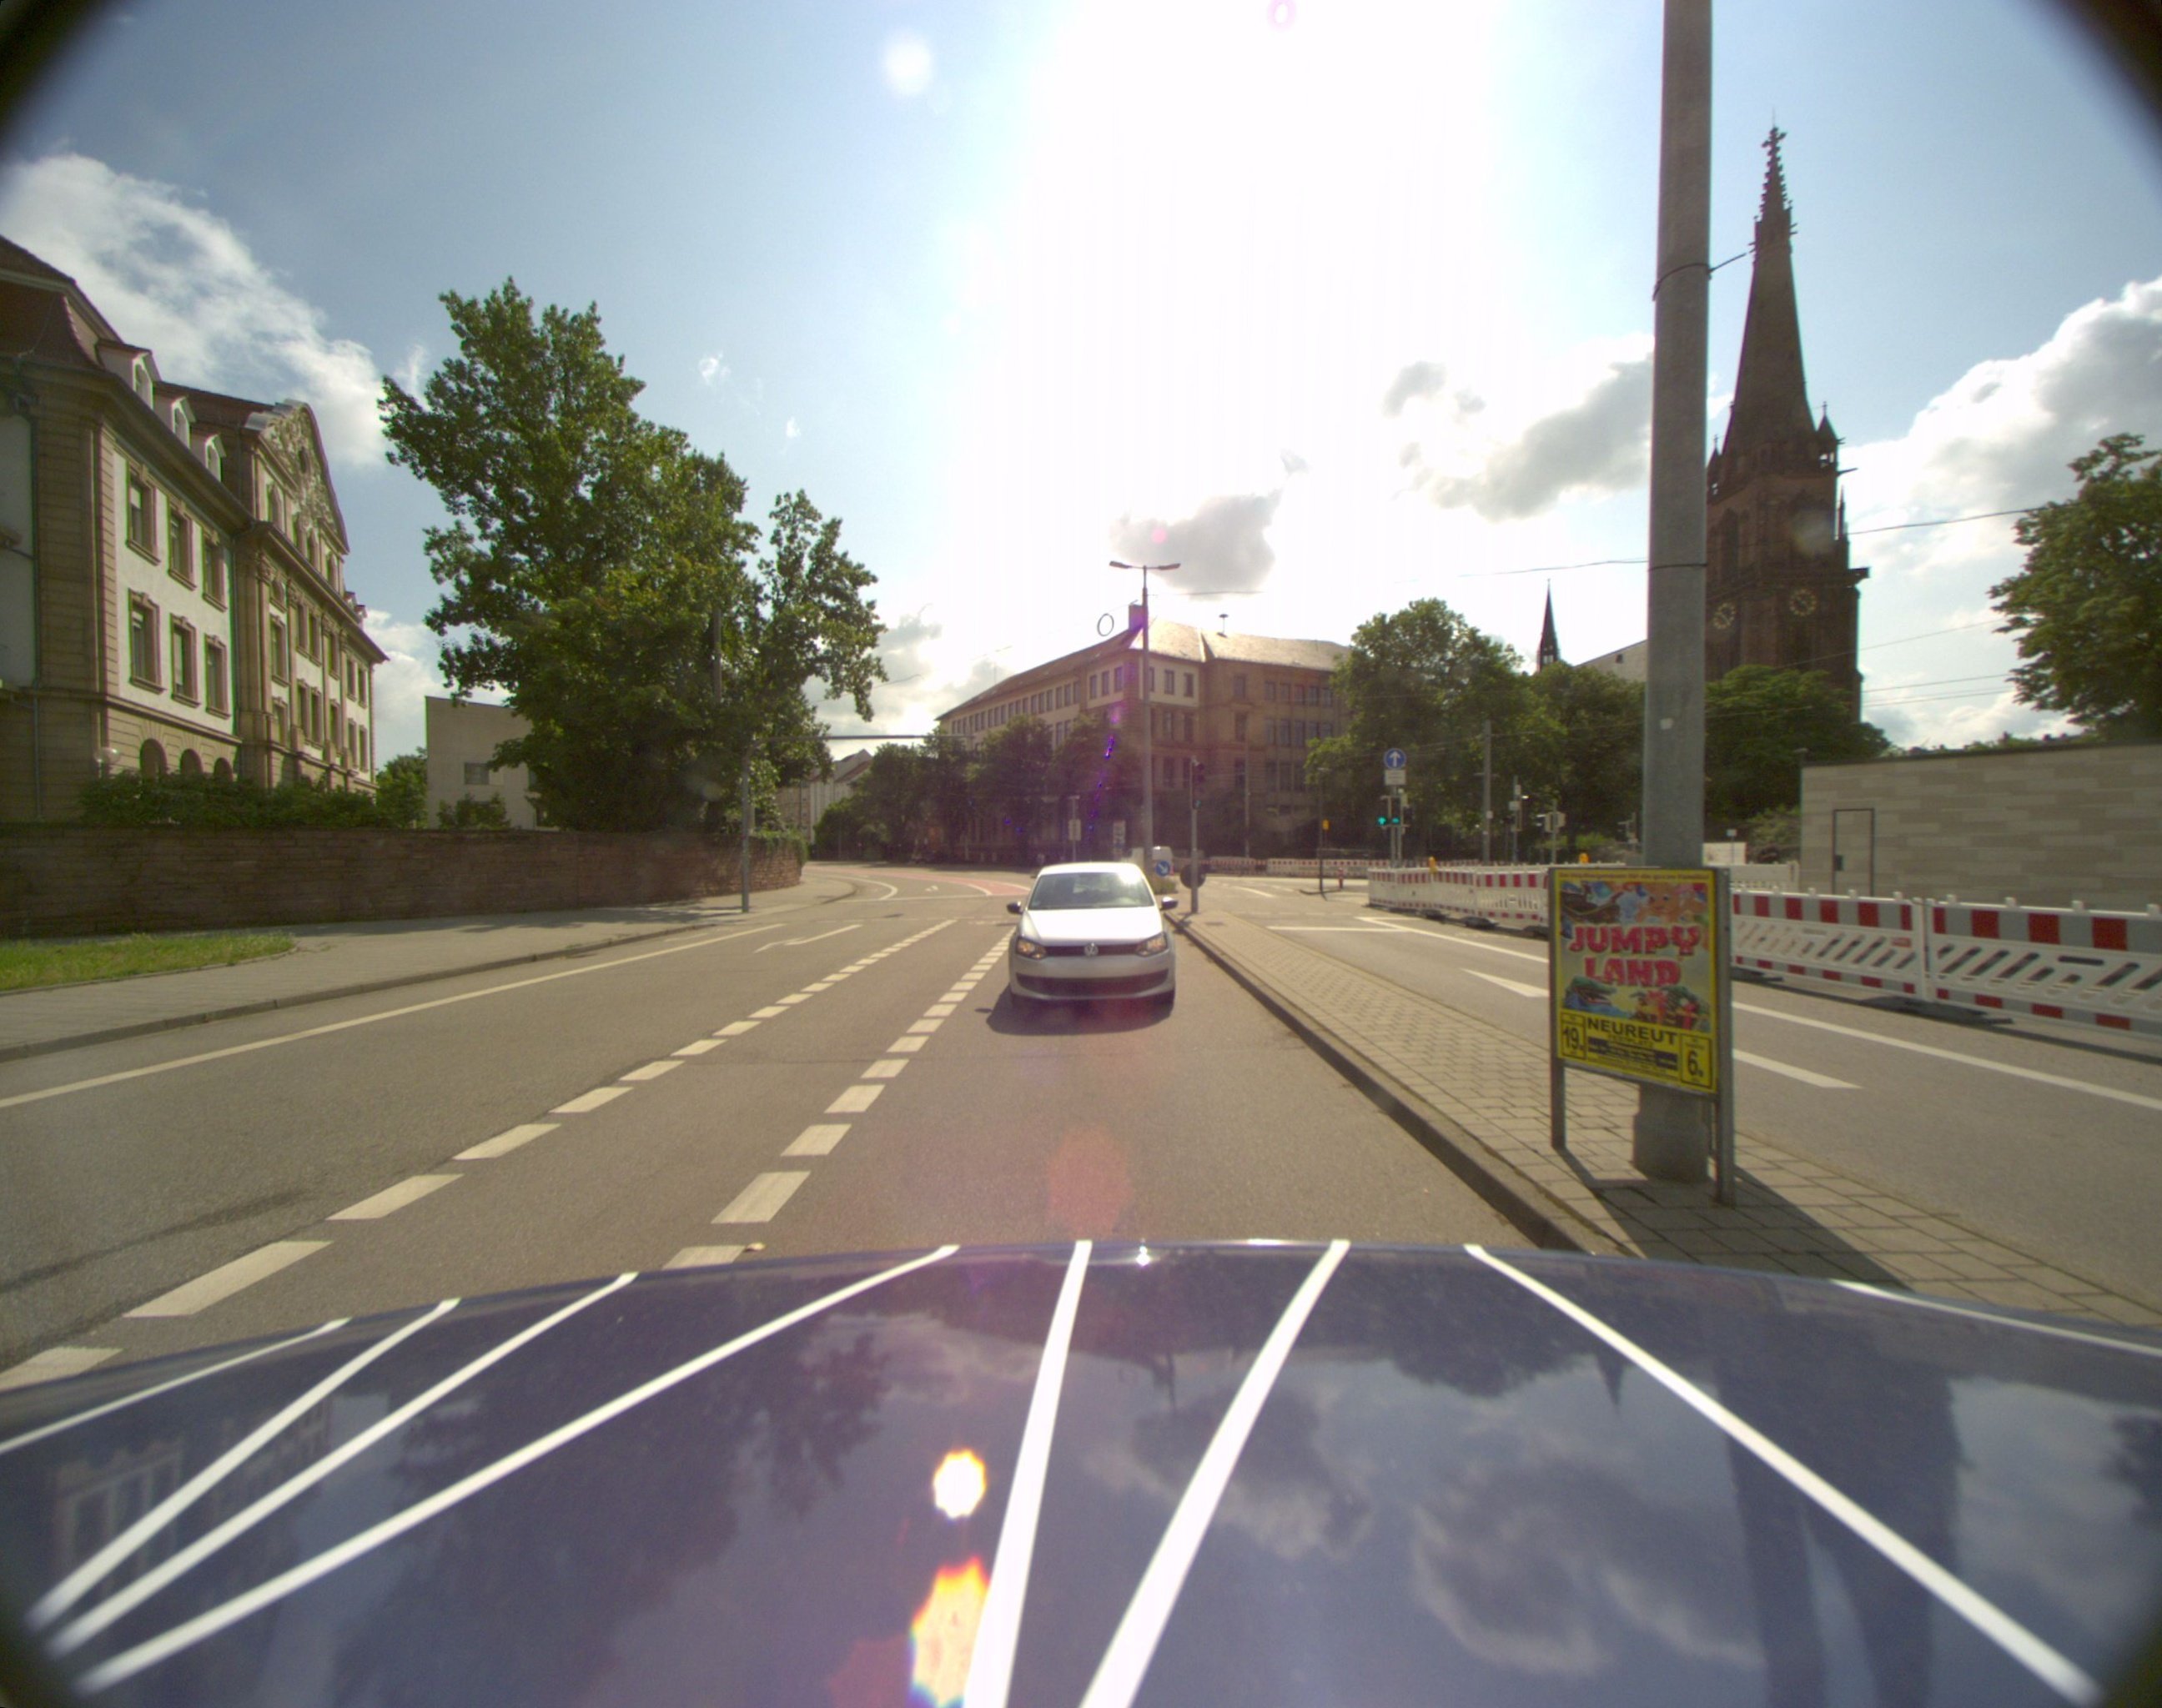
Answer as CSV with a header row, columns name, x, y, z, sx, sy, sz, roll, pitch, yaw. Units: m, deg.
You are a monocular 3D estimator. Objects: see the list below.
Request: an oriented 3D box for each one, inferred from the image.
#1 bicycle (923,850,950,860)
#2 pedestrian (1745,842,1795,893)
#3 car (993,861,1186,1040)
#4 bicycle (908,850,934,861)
name,x,y,z,sx,sy,sz,roll,pitch,yaw
bicycle,-17.325,0.118,91.120,2.891,1.201,1.050,0,4,8
pedestrian,23.171,0.440,25.542,1.209,1.696,0.840,0,1,-27
car,0.087,0.876,8.745,1.655,1.433,4.004,-2,1,0
bicycle,-19.653,0.169,93.402,2.891,1.201,1.073,0,4,8
